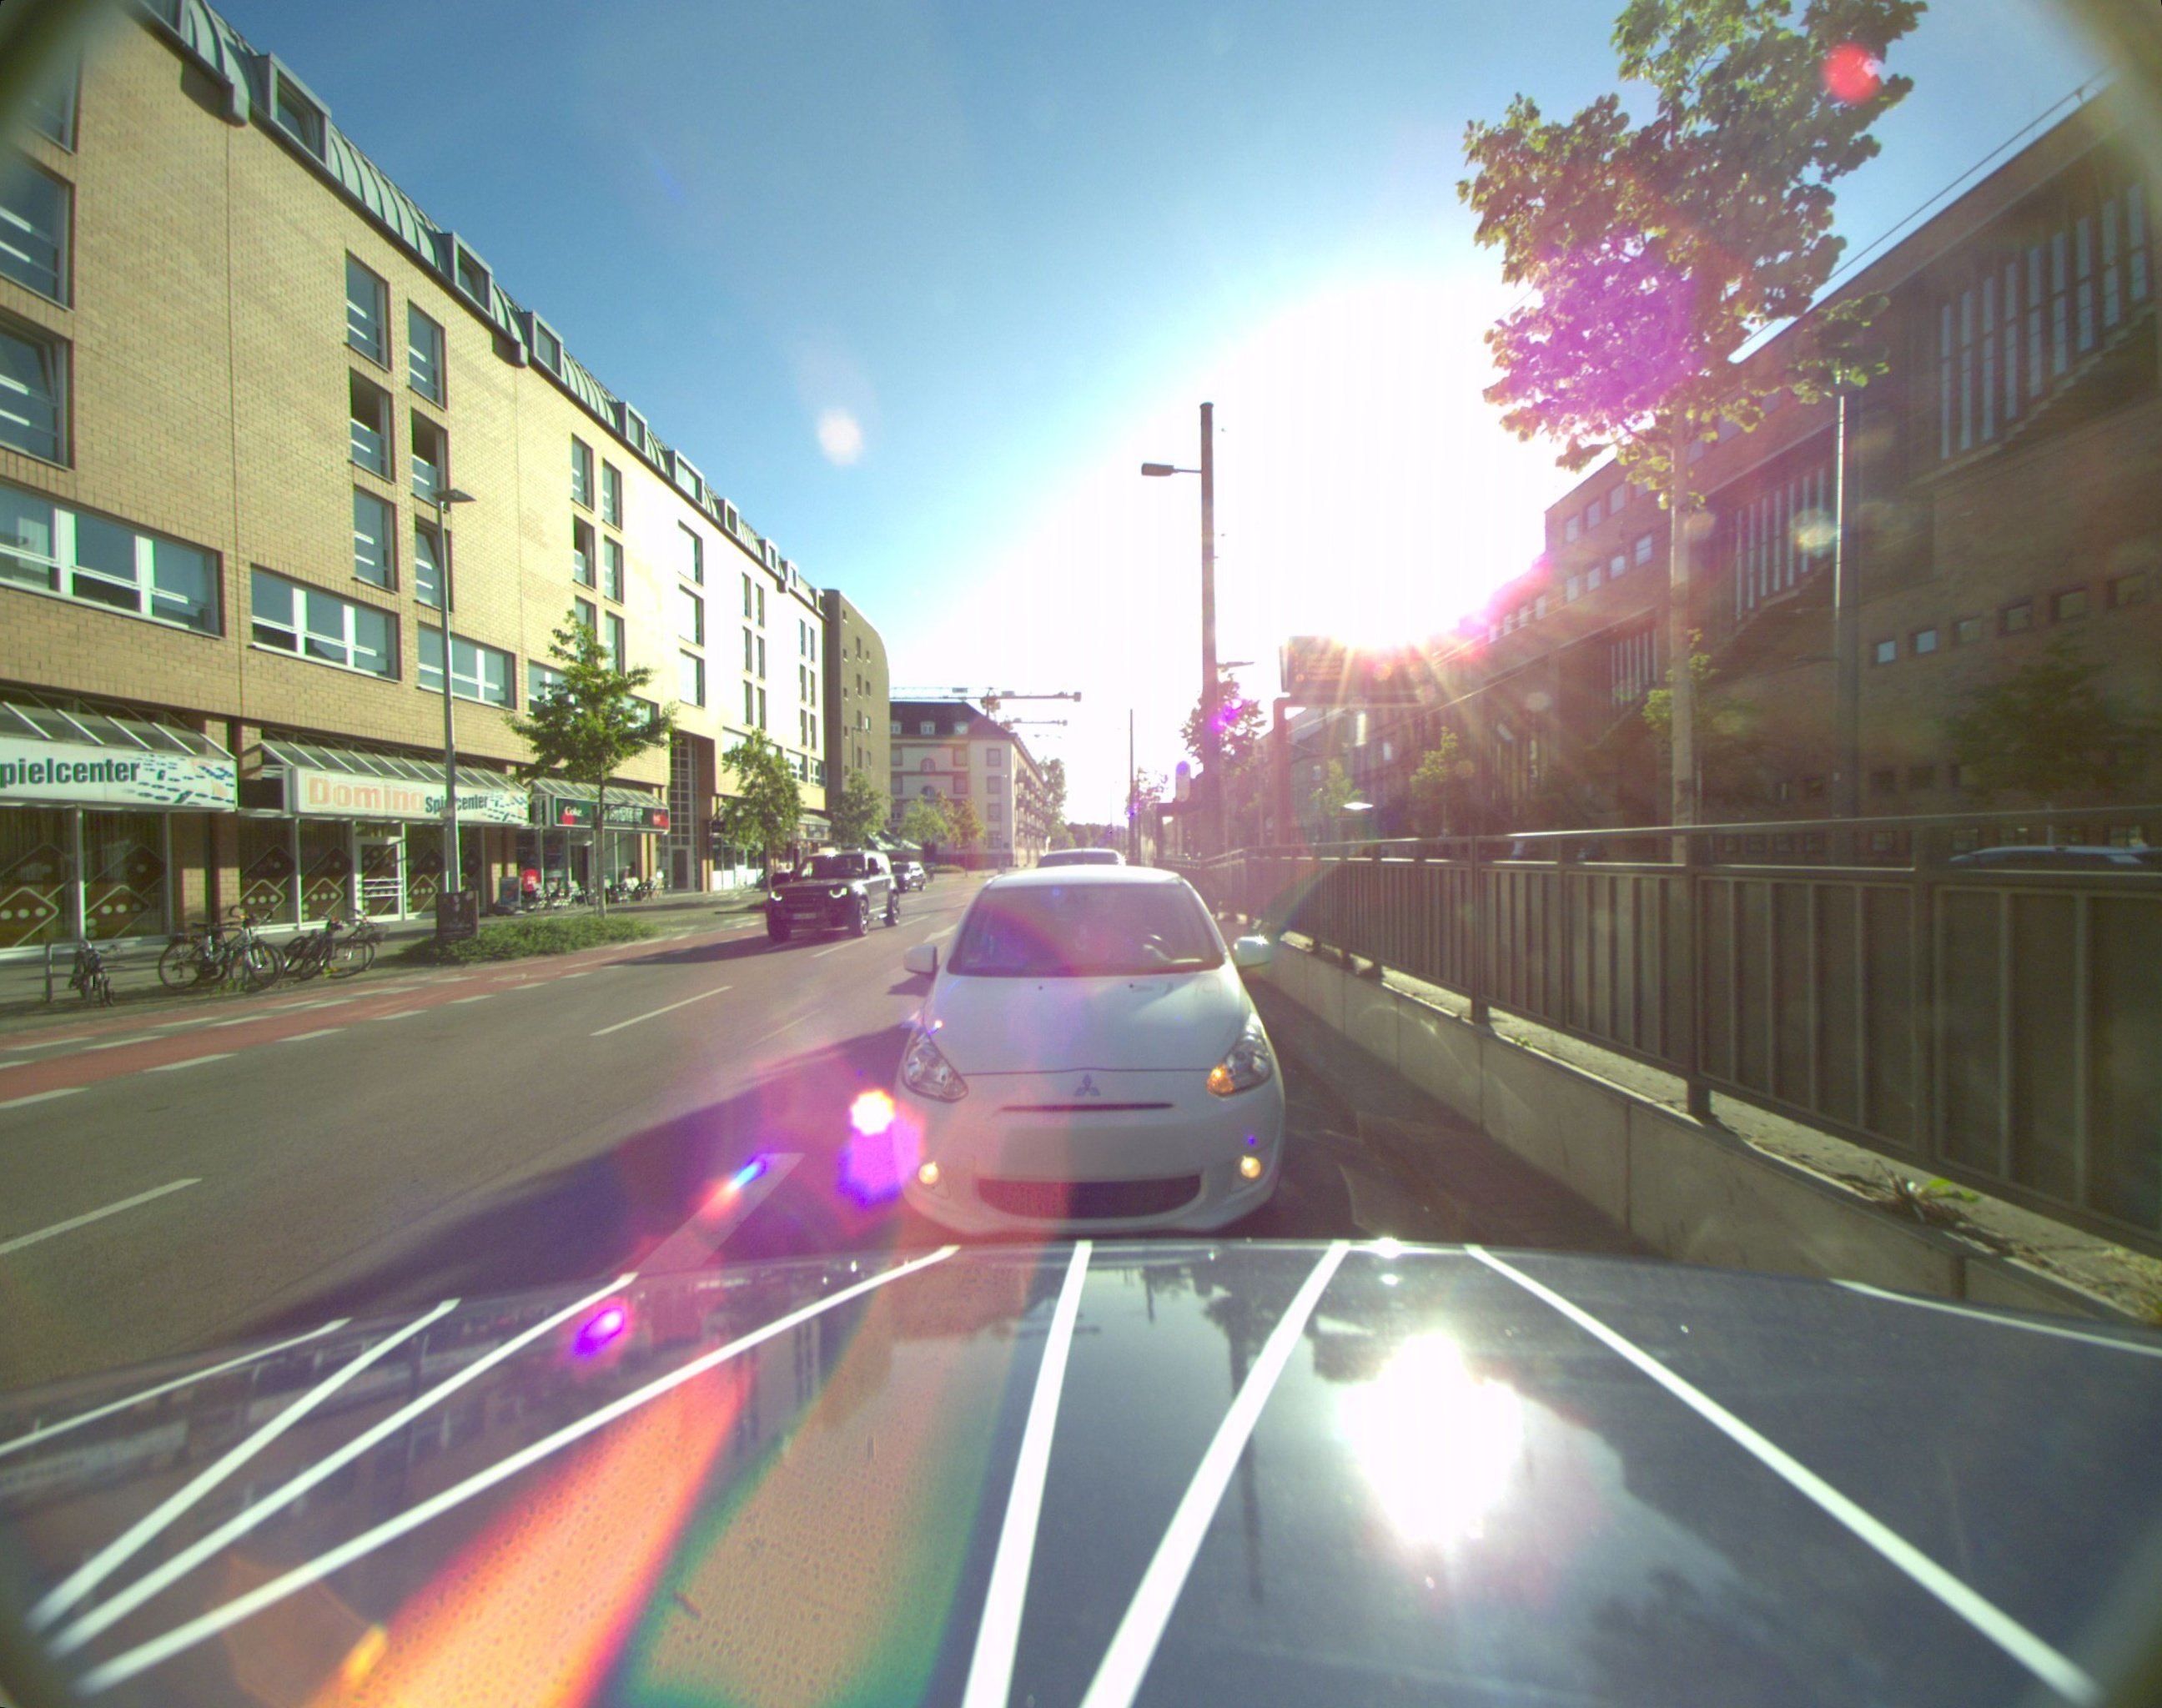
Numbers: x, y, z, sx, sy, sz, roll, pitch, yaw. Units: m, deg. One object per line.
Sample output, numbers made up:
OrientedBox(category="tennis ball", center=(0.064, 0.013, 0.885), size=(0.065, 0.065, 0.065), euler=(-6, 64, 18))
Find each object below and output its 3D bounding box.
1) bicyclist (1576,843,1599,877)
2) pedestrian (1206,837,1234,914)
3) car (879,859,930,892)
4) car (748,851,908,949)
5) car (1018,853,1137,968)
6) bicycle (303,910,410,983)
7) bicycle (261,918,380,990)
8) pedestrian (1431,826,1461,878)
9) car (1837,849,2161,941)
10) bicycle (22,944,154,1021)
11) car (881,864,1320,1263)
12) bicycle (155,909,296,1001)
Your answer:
OrientedBox(category="bicyclist", center=(22.664, 0.260, 33.995), size=(0.588, 1.525, 0.650), euler=(-2, 2, 1))
OrientedBox(category="pedestrian", center=(4.438, 0.670, 24.313), size=(0.684, 2.428, 0.626), euler=(-2, 2, -2))
OrientedBox(category="car", center=(-9.672, 1.144, 41.817), size=(1.779, 1.630, 4.000), euler=(-1, 0, 1))
OrientedBox(category="car", center=(-5.657, 0.956, 17.679), size=(2.164, 1.903, 4.473), euler=(-2, -1, 0))
OrientedBox(category="car", center=(-0.054, 0.839, 13.506), size=(1.720, 1.591, 4.215), euler=(-2, 1, 0))
OrientedBox(category="bicycle", center=(-11.895, 1.499, 12.472), size=(1.835, 1.050, 0.350), euler=(1, 2, 15))
OrientedBox(category="bicycle", center=(-12.011, 1.563, 12.002), size=(1.835, 0.980, 0.449), euler=(1, 2, 15))
OrientedBox(category="pedestrian", center=(12.942, -0.072, 26.948), size=(0.685, 1.797, 0.668), euler=(-2, 2, 0))
OrientedBox(category="car", center=(17.354, 0.637, 14.176), size=(1.830, 1.422, 4.528), euler=(-1, 0, -3))
OrientedBox(category="bicycle", center=(-12.807, 1.635, 9.798), size=(1.772, 0.827, 0.366), euler=(1, 2, 15))
OrientedBox(category="car", center=(0.081, 0.881, 5.187), size=(1.720, 1.422, 4.215), euler=(-2, 1, 0))
OrientedBox(category="bicycle", center=(-12.351, 1.429, 10.973), size=(1.835, 1.156, 0.565), euler=(1, 2, 15))
